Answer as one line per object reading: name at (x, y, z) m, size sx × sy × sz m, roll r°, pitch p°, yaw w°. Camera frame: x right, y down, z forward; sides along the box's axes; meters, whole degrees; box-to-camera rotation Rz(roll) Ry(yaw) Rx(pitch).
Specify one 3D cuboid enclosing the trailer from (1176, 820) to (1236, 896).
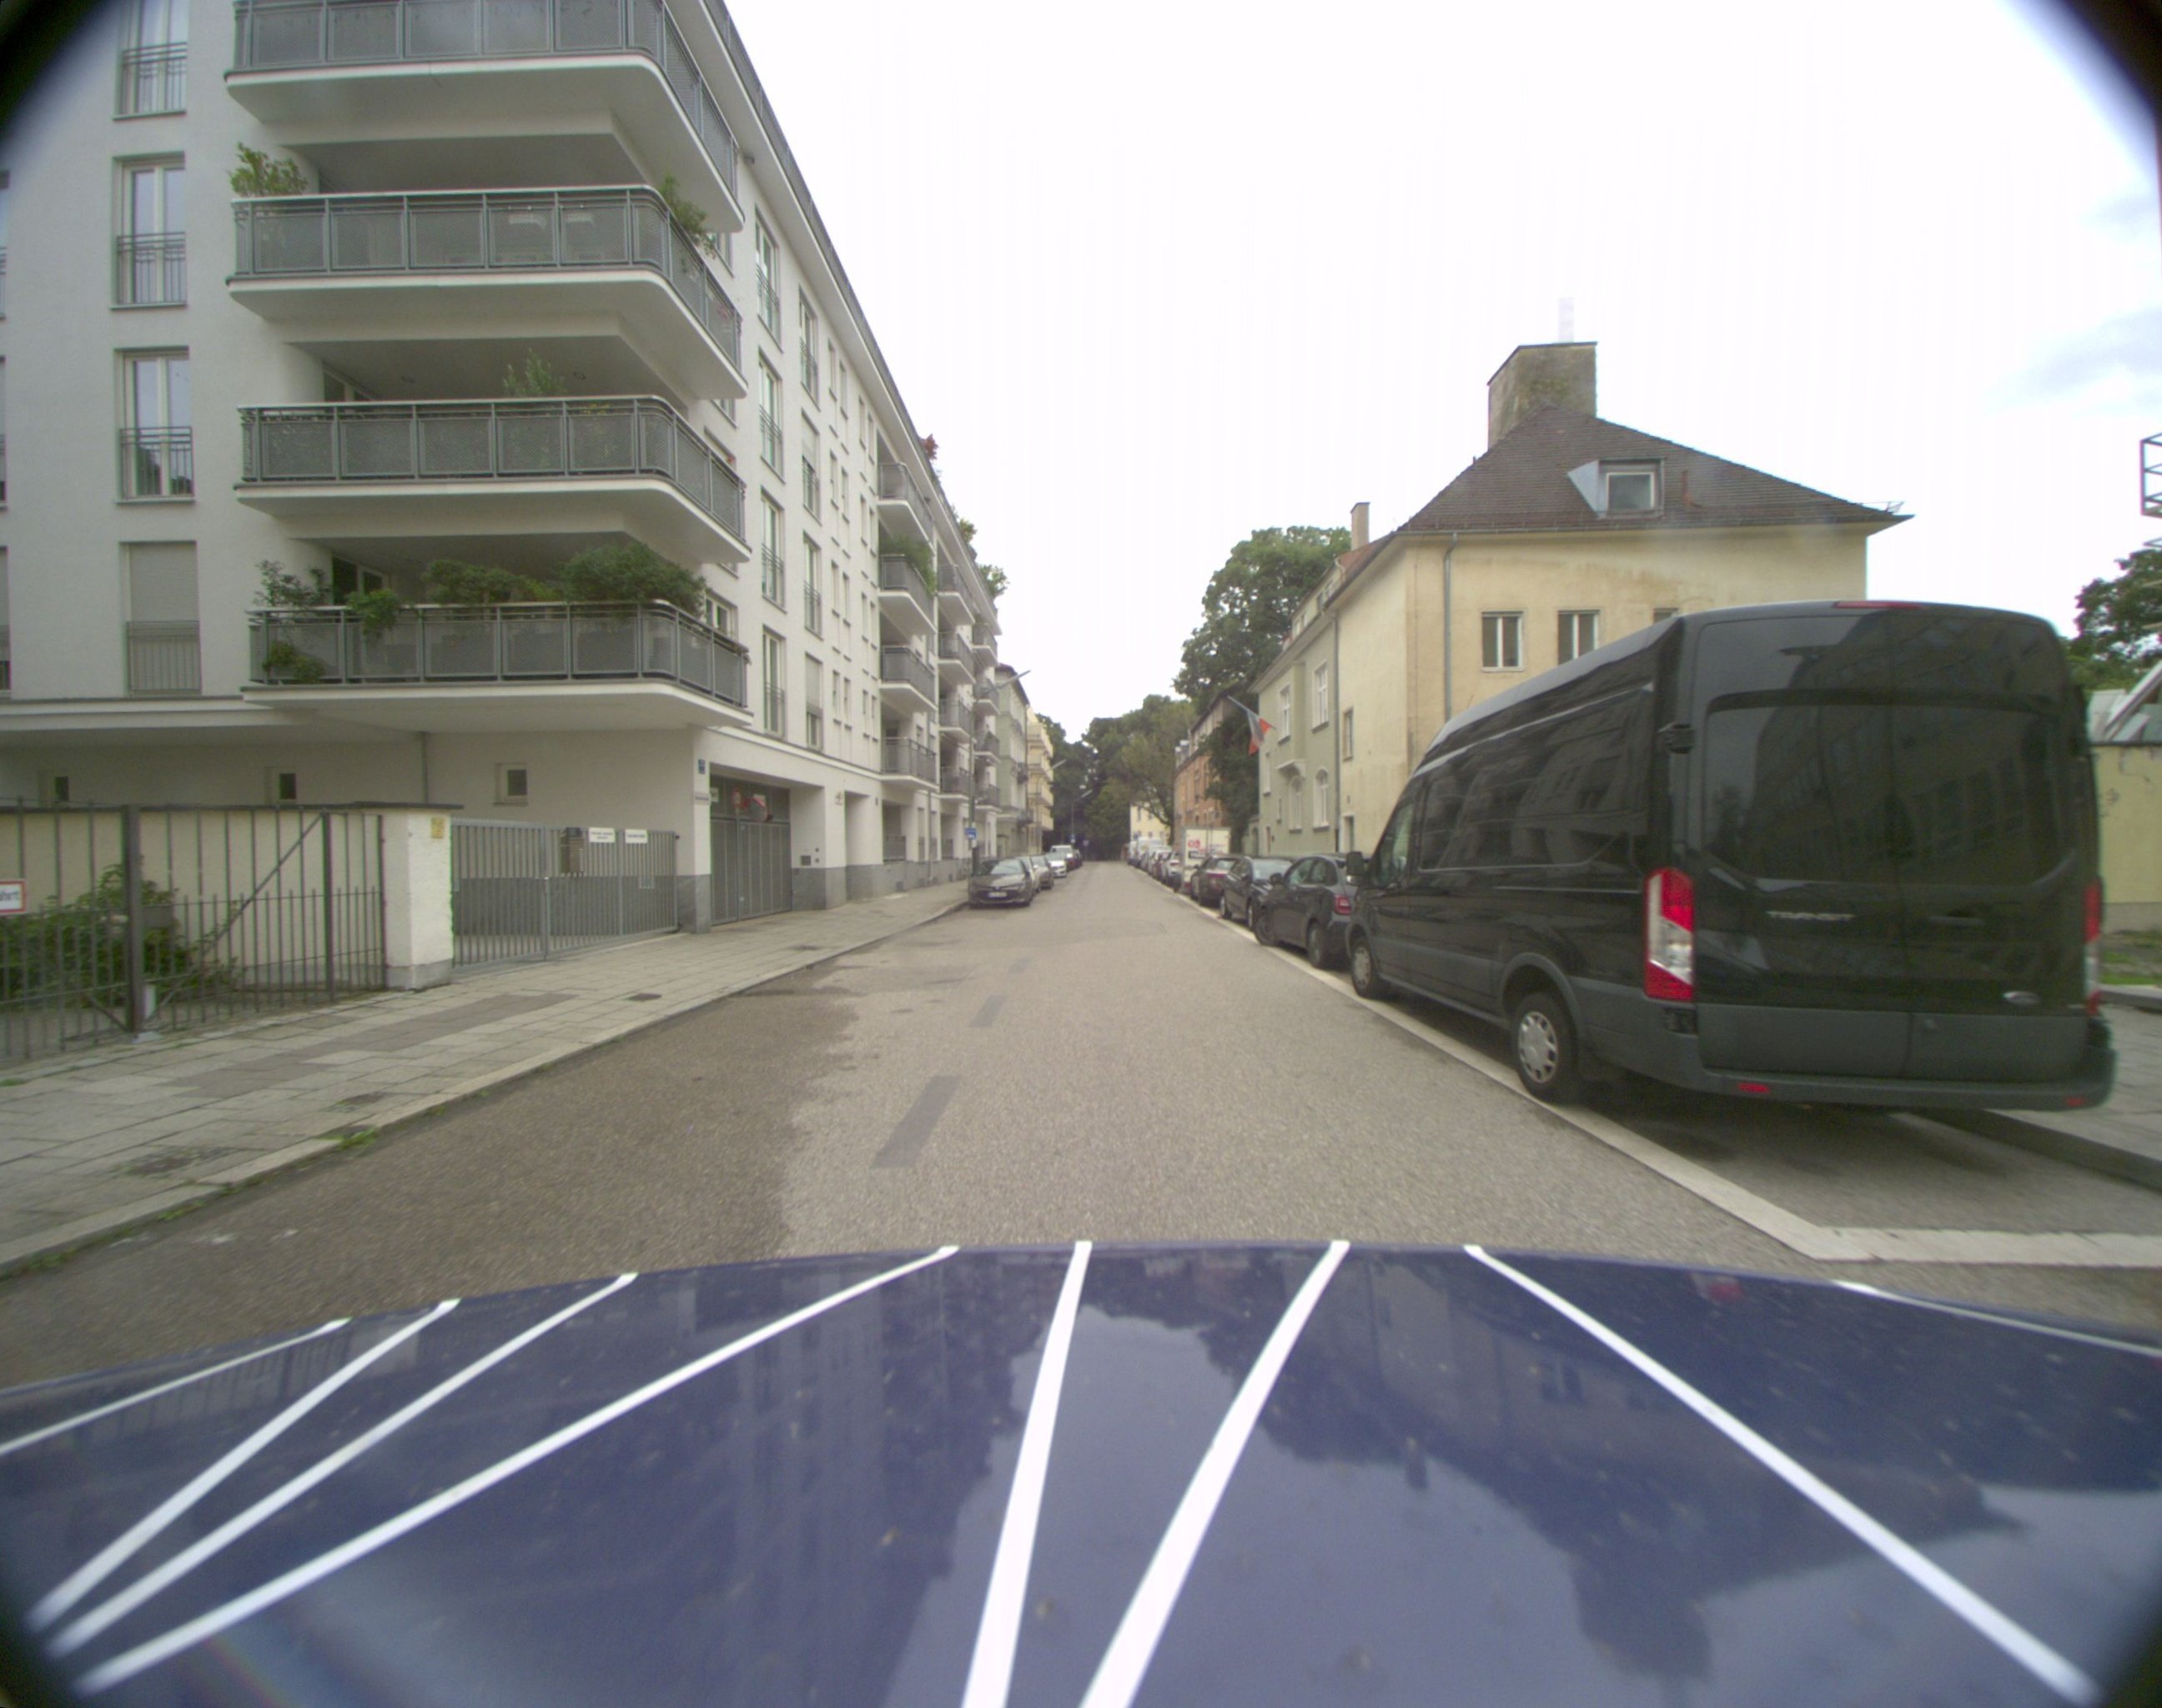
trailer at (4.488, 0.109, 27.672) m, size 1.817 × 2.521 × 3.390 m, roll 3°, pitch 1°, yaw 6°

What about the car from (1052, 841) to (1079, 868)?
car at (-1.188, -0.017, 59.865) m, size 1.871 × 2.002 × 4.268 m, roll -1°, pitch 1°, yaw 2°

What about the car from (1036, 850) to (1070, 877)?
car at (-1.610, 0.507, 44.651) m, size 1.766 × 1.449 × 3.747 m, roll -1°, pitch 1°, yaw 0°

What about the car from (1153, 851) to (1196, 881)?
car at (4.659, 0.567, 38.293) m, size 1.817 × 1.339 × 3.746 m, roll -1°, pitch 1°, yaw 3°

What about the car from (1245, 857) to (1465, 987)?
car at (3.700, 0.822, 10.926) m, size 1.706 × 1.485 × 3.488 m, roll -1°, pitch 1°, yaw -4°

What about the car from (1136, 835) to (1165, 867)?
car at (5.526, -0.234, 60.466) m, size 2.104 × 2.418 × 4.549 m, roll -1°, pitch 1°, yaw 3°

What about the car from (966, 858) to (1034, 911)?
car at (-2.392, 0.872, 23.411) m, size 1.784 × 1.386 × 4.245 m, roll -1°, pitch 1°, yaw -2°

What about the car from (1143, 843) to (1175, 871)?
car at (5.084, 0.179, 50.140) m, size 1.817 × 1.724 × 3.649 m, roll -1°, pitch 1°, yaw 2°

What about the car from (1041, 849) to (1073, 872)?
car at (-1.589, 0.387, 51.205) m, size 1.765 × 1.449 × 3.748 m, roll -1°, pitch 1°, yaw 4°

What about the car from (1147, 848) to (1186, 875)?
car at (4.946, 0.426, 44.464) m, size 1.818 × 1.444 × 3.927 m, roll -1°, pitch 1°, yaw 0°

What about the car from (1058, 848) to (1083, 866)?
car at (-0.872, 0.235, 64.990) m, size 1.871 × 1.455 × 4.268 m, roll -1°, pitch 1°, yaw 2°

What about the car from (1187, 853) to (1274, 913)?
car at (4.209, 0.748, 22.061) m, size 1.817 × 1.491 × 4.643 m, roll 0°, pitch 1°, yaw 3°

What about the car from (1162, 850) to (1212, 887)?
car at (4.550, 0.582, 33.109) m, size 1.767 × 1.505 × 3.842 m, roll 0°, pitch 1°, yaw 1°

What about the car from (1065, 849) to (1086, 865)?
car at (-0.563, 0.275, 75.645) m, size 1.871 × 1.455 × 4.268 m, roll -1°, pitch 1°, yaw 2°

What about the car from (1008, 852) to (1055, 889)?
car at (-2.092, 0.686, 32.962) m, size 1.766 × 1.449 × 3.747 m, roll -1°, pitch 1°, yaw 0°

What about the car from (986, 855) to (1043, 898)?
car at (-2.436, 0.795, 28.473) m, size 1.766 × 1.449 × 3.417 m, roll -1°, pitch 1°, yaw 0°

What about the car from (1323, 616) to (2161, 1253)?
car at (3.869, 0.313, 5.978) m, size 2.302 × 2.630 × 5.653 m, roll 0°, pitch 1°, yaw 2°

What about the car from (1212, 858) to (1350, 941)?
car at (3.968, 0.827, 15.768) m, size 1.697 × 1.417 × 4.069 m, roll 0°, pitch 1°, yaw -1°

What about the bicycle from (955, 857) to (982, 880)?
bicycle at (-5.516, 0.703, 37.273) m, size 0.580 × 1.008 × 1.955 m, roll -2°, pitch 1°, yaw 14°

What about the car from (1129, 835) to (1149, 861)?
car at (5.858, -0.580, 76.888) m, size 1.880 × 2.539 × 4.370 m, roll -1°, pitch 1°, yaw 3°
